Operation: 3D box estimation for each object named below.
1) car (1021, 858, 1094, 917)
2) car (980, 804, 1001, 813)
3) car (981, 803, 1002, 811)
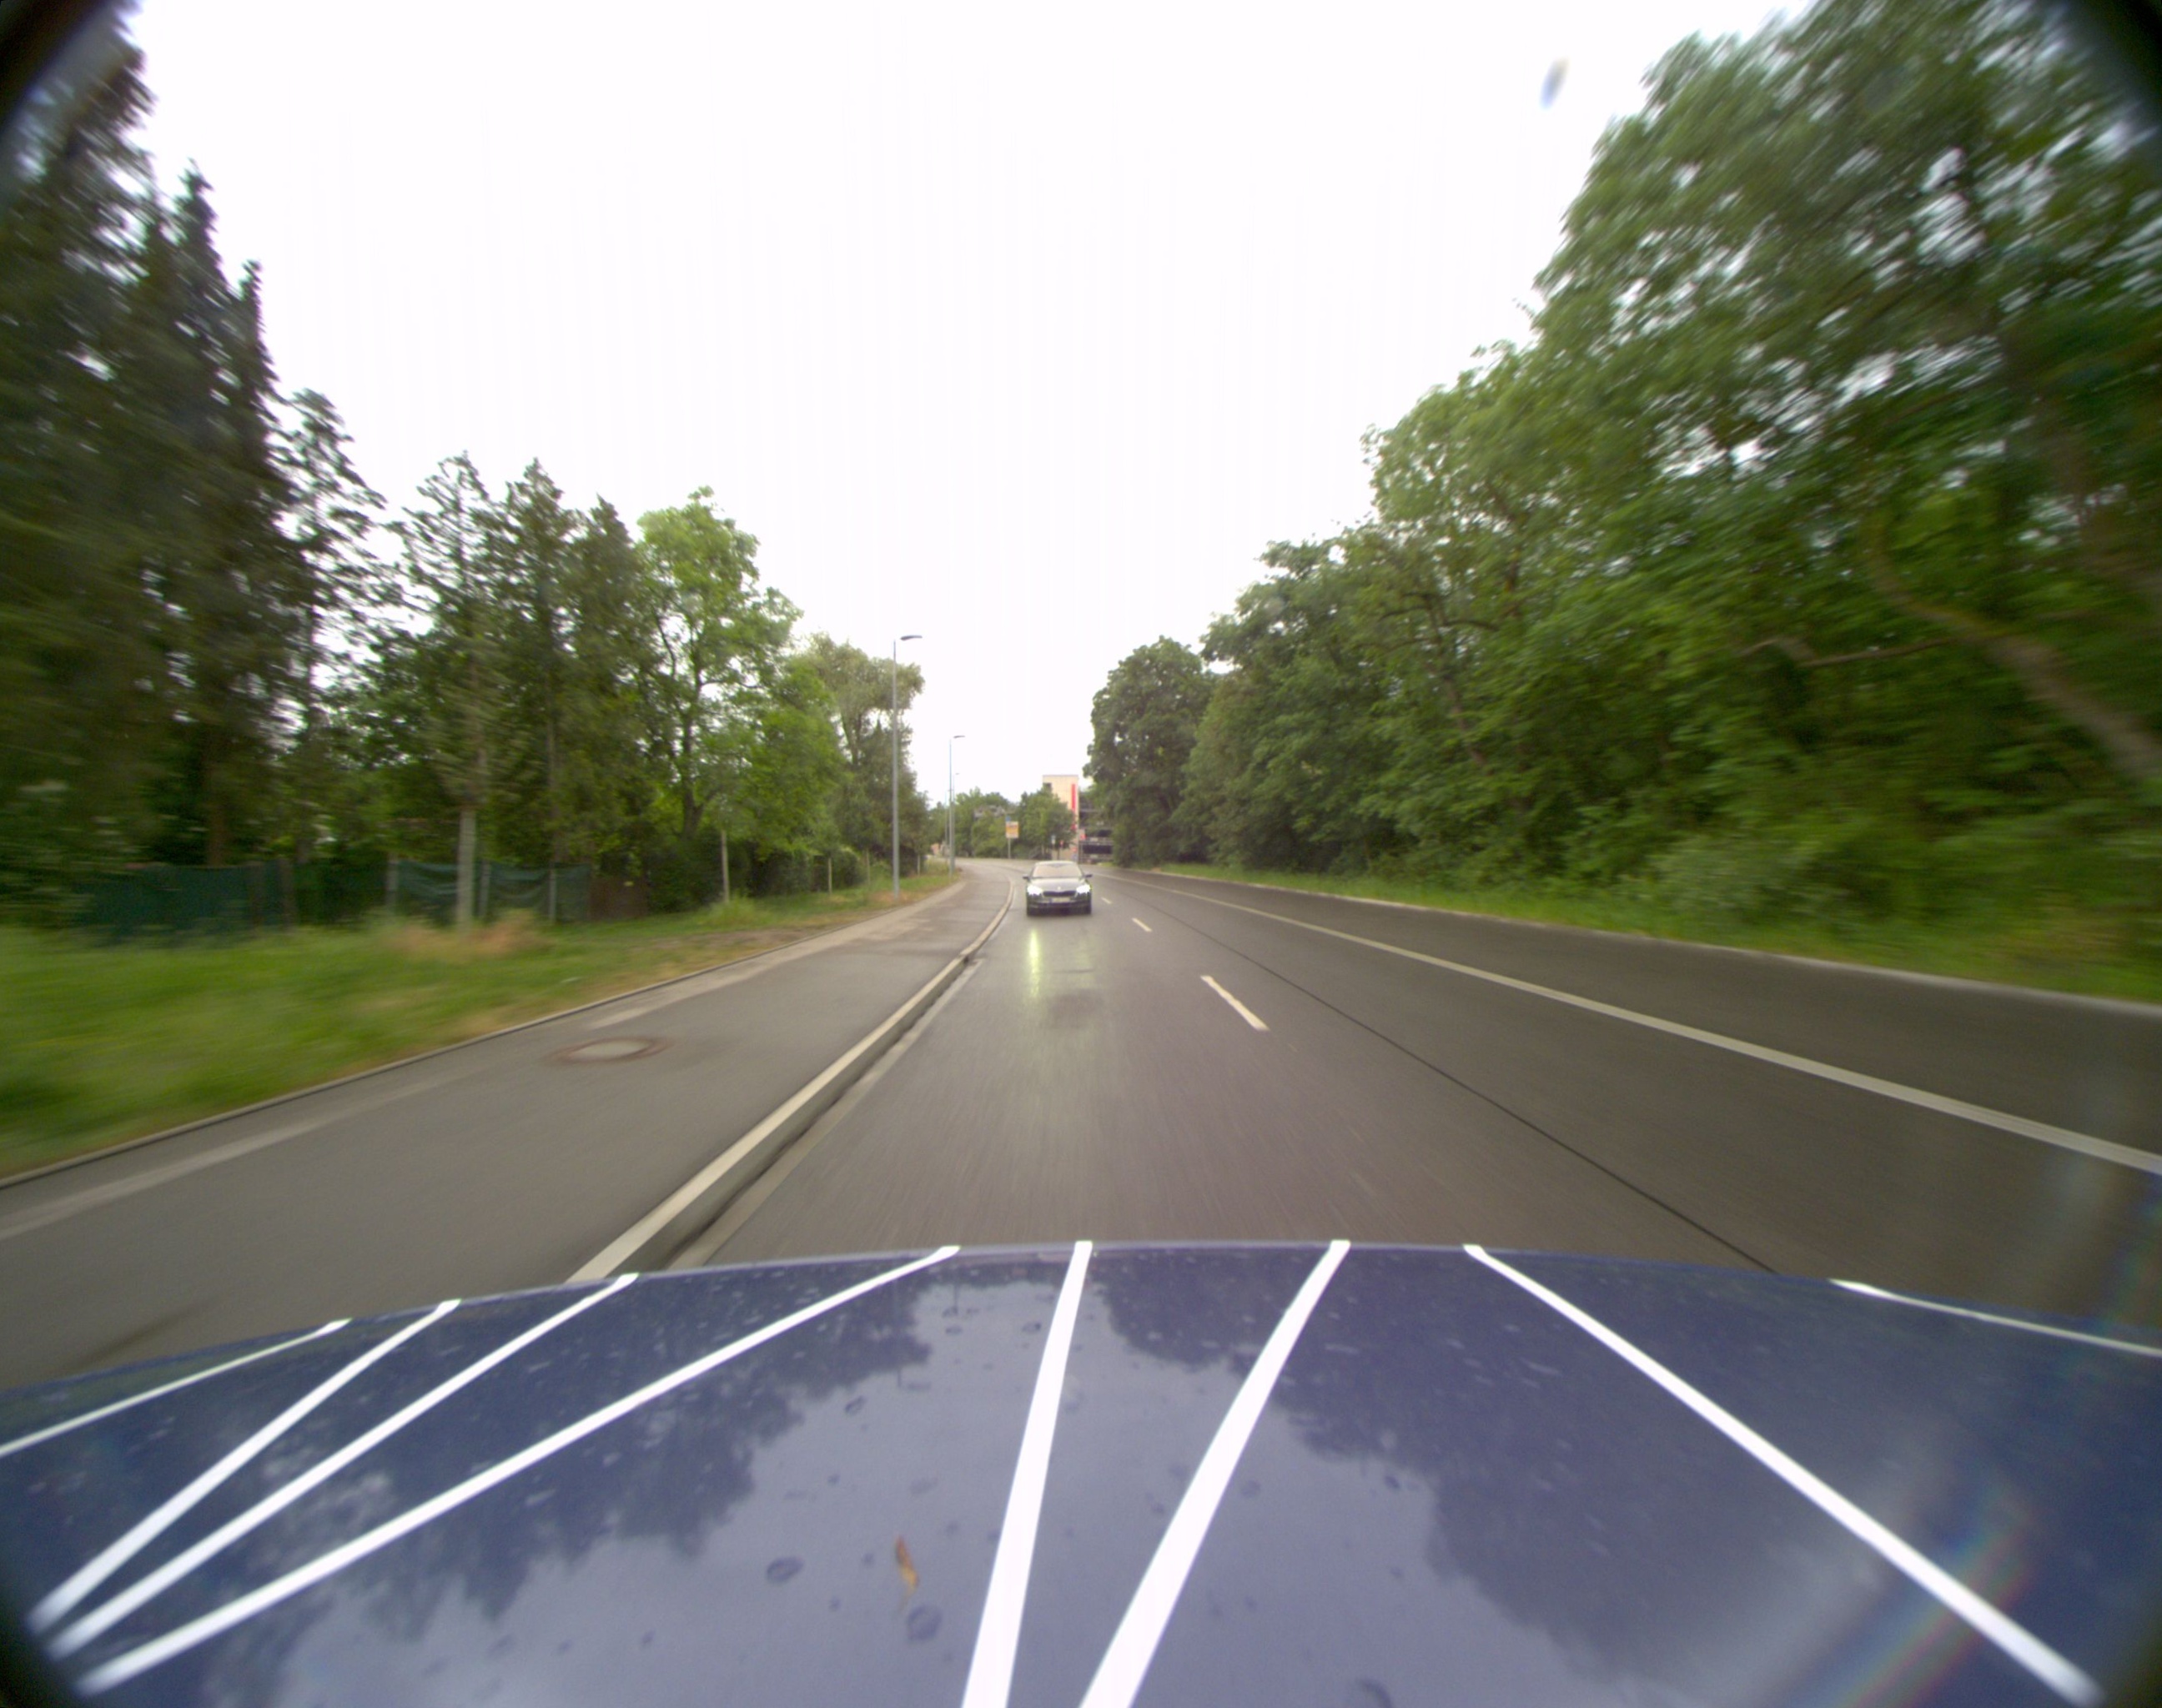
[{"bbox_3d":[-0.587,0.904,22.099,1.839,1.448,4.202,-1,1,2],"label":"car"},{"bbox_3d":[-18.175,-9.132,152.718,3.995,1.510,2.001,1,1,5],"label":"car"},{"bbox_3d":[-18.515,-9.767,156.855,3.995,1.510,2.001,1,1,5],"label":"car"}]
